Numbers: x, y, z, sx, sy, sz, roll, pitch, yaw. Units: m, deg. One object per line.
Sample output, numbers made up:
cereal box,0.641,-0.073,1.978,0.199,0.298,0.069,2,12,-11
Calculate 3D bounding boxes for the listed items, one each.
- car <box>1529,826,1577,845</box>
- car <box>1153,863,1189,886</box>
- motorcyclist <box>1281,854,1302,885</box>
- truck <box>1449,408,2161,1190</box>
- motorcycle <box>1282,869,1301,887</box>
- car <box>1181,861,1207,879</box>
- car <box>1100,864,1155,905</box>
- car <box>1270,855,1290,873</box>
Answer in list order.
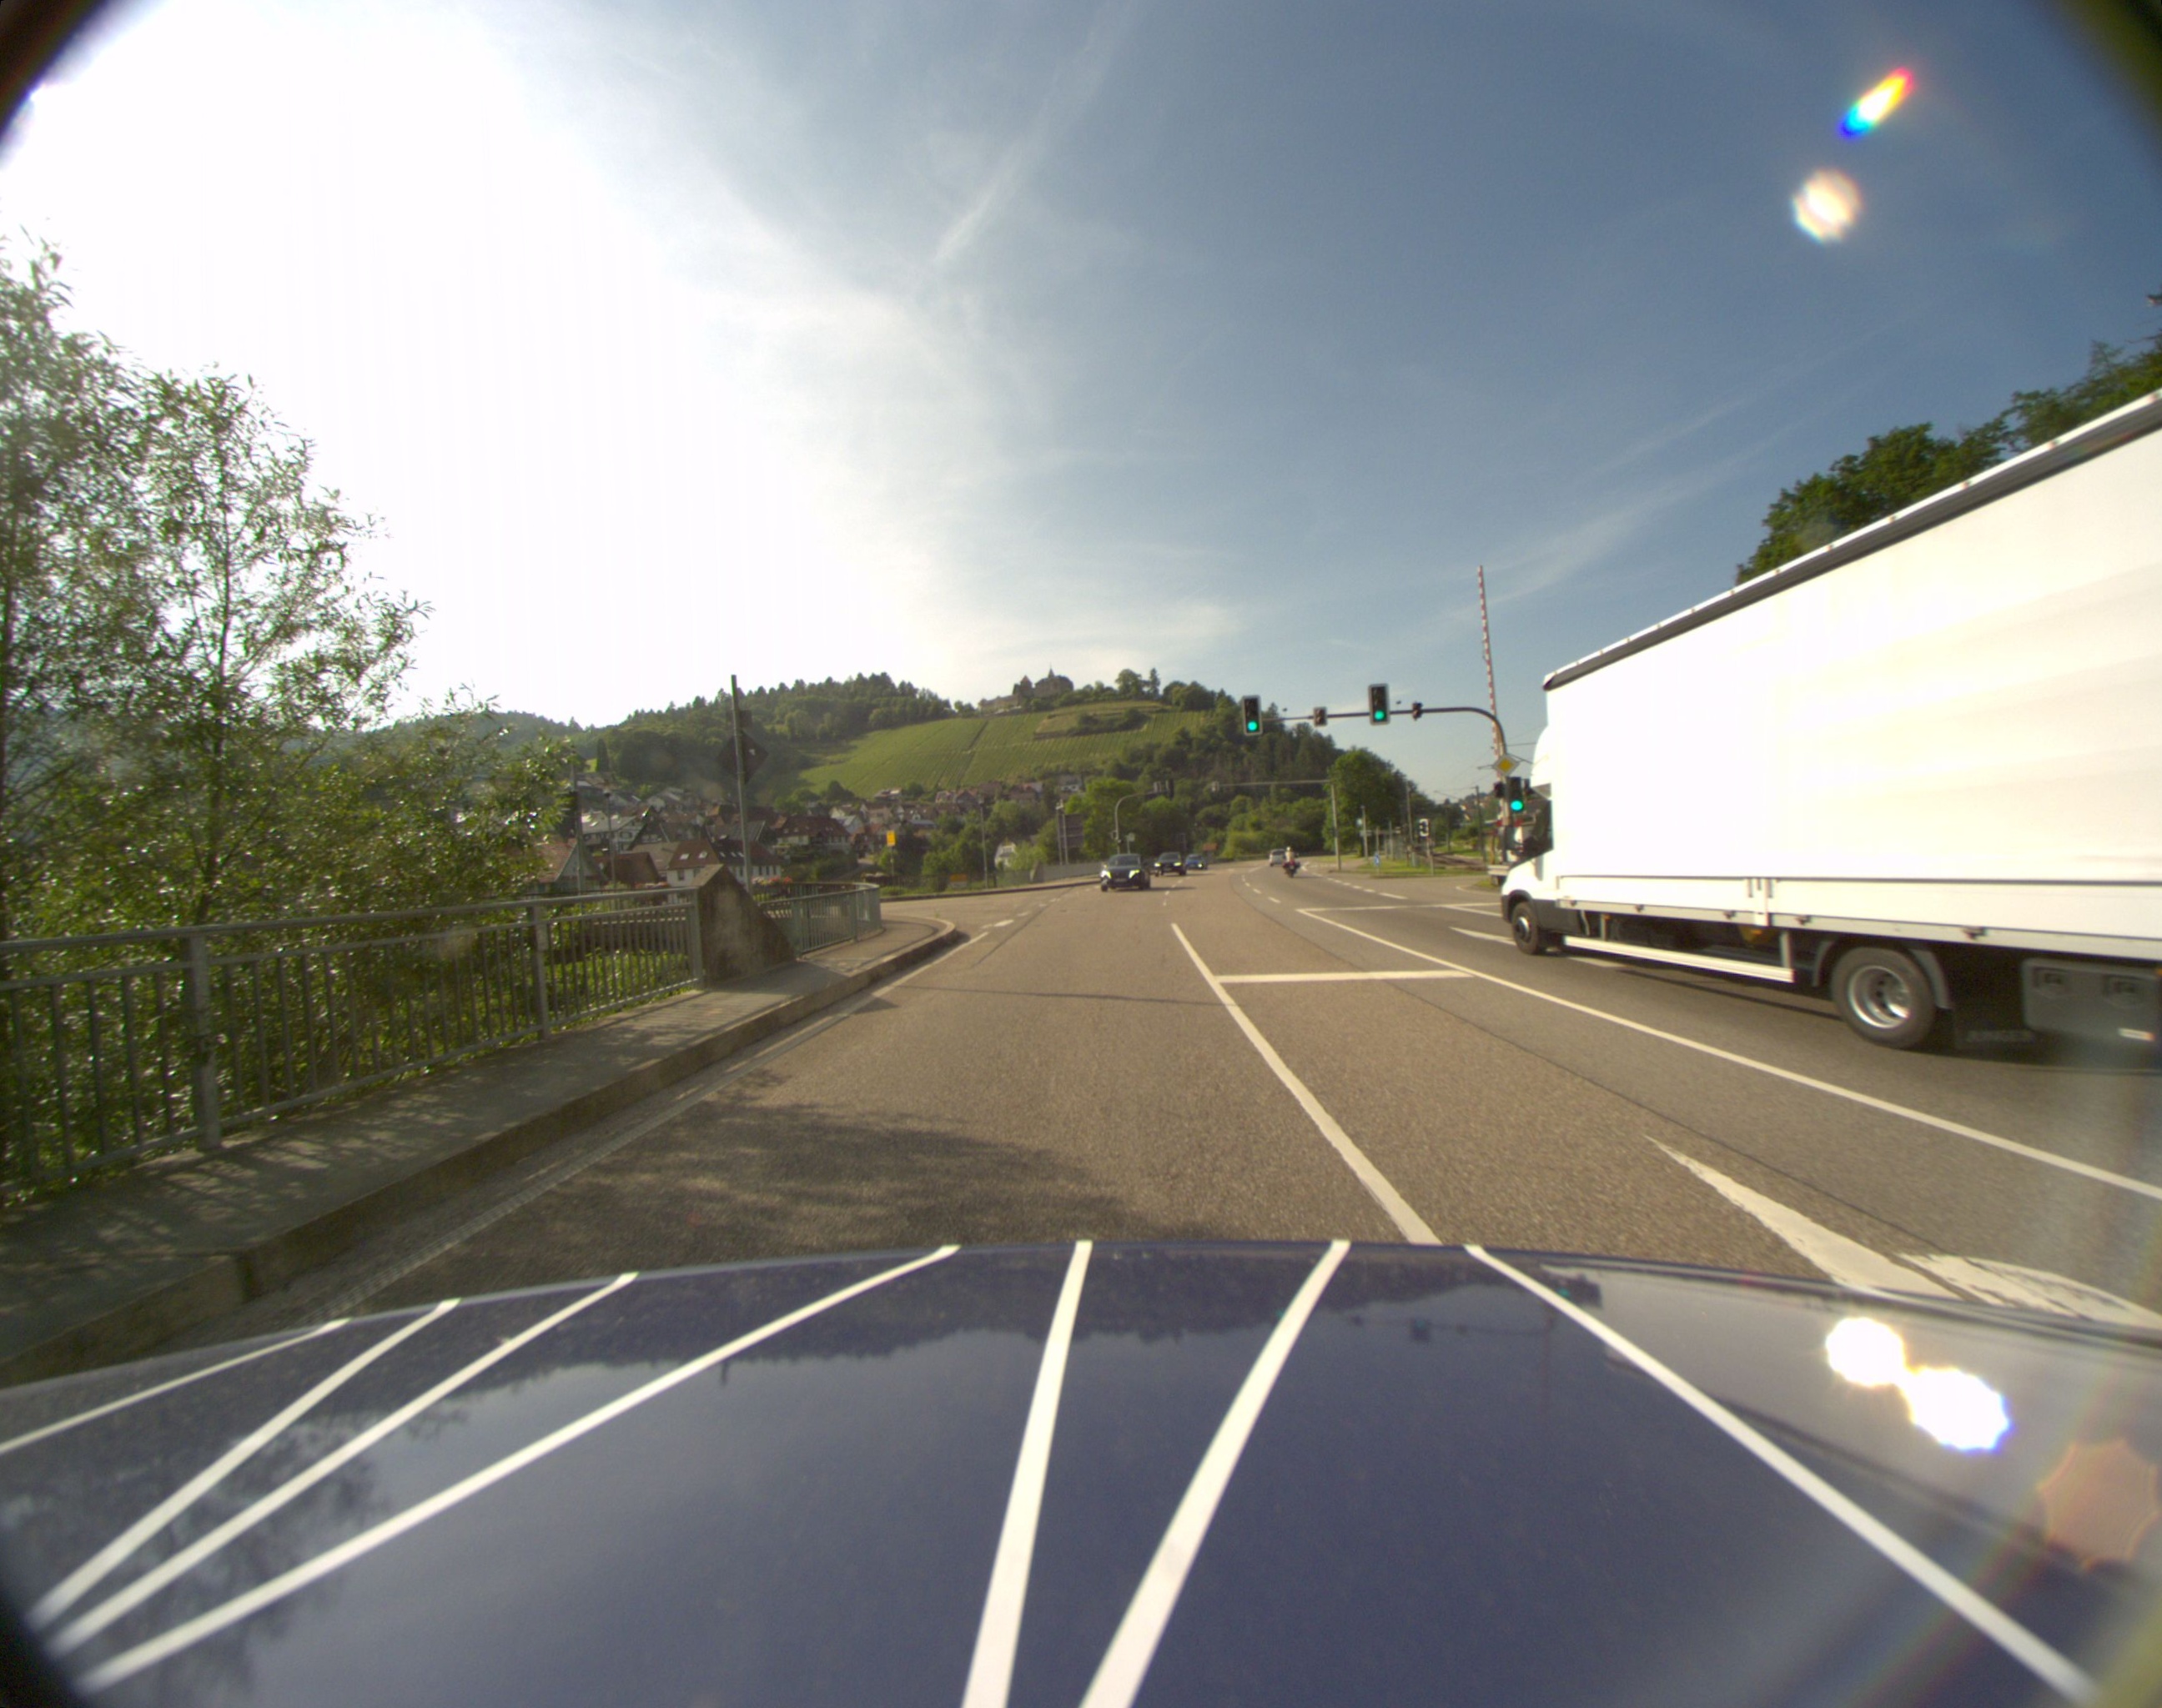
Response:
car,48.262,-1.889,77.766,3.991,1.739,1.643,-3,0,23
car,6.373,1.439,53.609,1.996,1.384,4.004,-3,0,14
motorcyclist,11.769,0.855,42.555,1.007,1.705,0.866,-3,0,11
truck,6.881,-0.269,7.070,2.903,3.776,8.897,-2,-1,3
motorcycle,11.722,1.328,42.386,0.825,0.948,2.220,-2,-1,11
car,10.220,1.413,68.348,1.865,1.483,4.004,-1,0,15
car,2.142,1.310,34.089,1.861,1.576,4.003,-3,0,12
car,19.294,0.983,73.531,1.695,1.647,4.177,-3,-1,16
